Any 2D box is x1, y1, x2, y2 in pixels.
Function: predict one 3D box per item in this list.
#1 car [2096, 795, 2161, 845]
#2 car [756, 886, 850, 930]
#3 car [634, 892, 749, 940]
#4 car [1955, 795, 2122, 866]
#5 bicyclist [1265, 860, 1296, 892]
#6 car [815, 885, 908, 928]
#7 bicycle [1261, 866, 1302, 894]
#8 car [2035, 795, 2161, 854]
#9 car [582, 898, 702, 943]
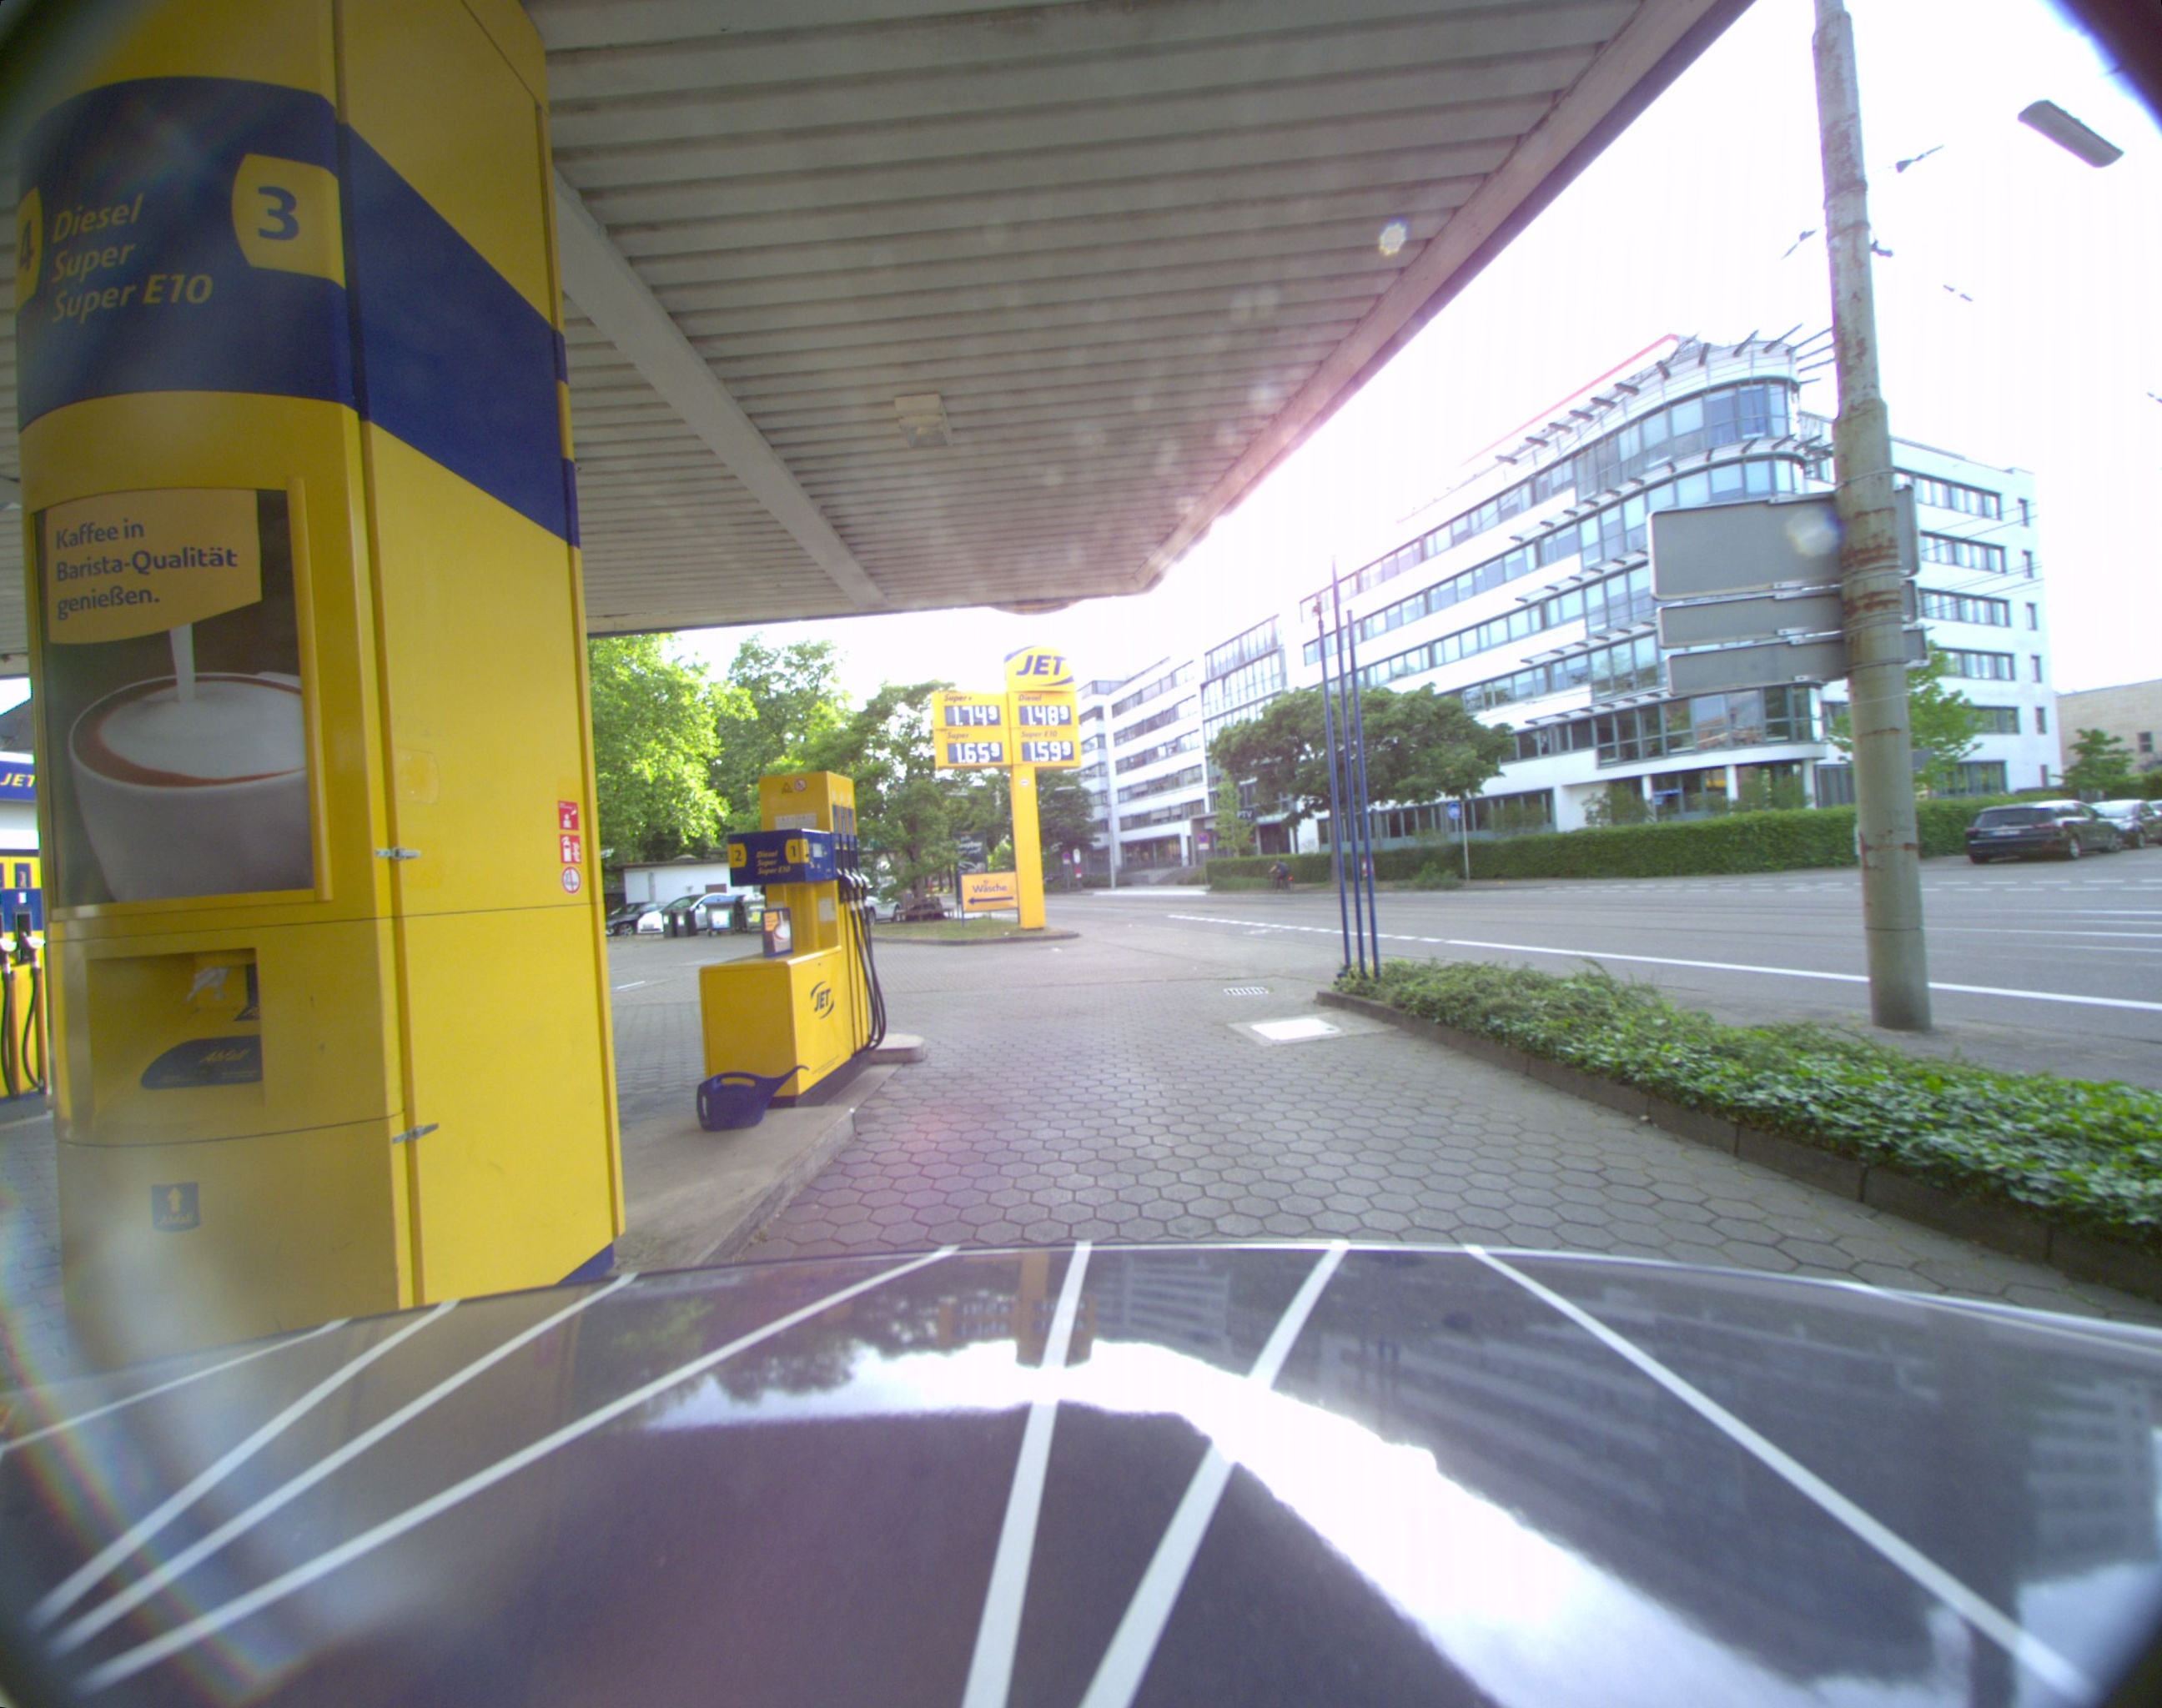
[{"bbox_3d":[37.106,-1.250,26.022,4.201,1.568,1.820,-4,-1,-24],"label":"car"},{"bbox_3d":[-11.745,2.254,32.474,1.823,1.575,4.200,-4,-2,10],"label":"car"},{"bbox_3d":[-15.388,2.401,30.263,1.823,1.575,4.200,-4,-2,10],"label":"car"},{"bbox_3d":[27.419,-0.669,21.764,4.397,1.678,1.820,-4,-1,-24],"label":"car"},{"bbox_3d":[9.417,1.028,35.893,0.792,1.443,1.173,-3,1,-29],"label":"bicyclist"},{"bbox_3d":[-8.655,2.037,30.387,1.823,1.449,4.200,-4,-2,10],"label":"car"},{"bbox_3d":[9.454,1.206,35.882,0.792,1.232,1.878,-3,1,-29],"label":"bicycle"},{"bbox_3d":[32.577,-0.957,24.074,4.201,1.568,1.820,-4,-1,-24],"label":"car"},{"bbox_3d":[-17.533,2.619,30.618,1.823,1.426,4.200,-4,-2,10],"label":"car"}]
